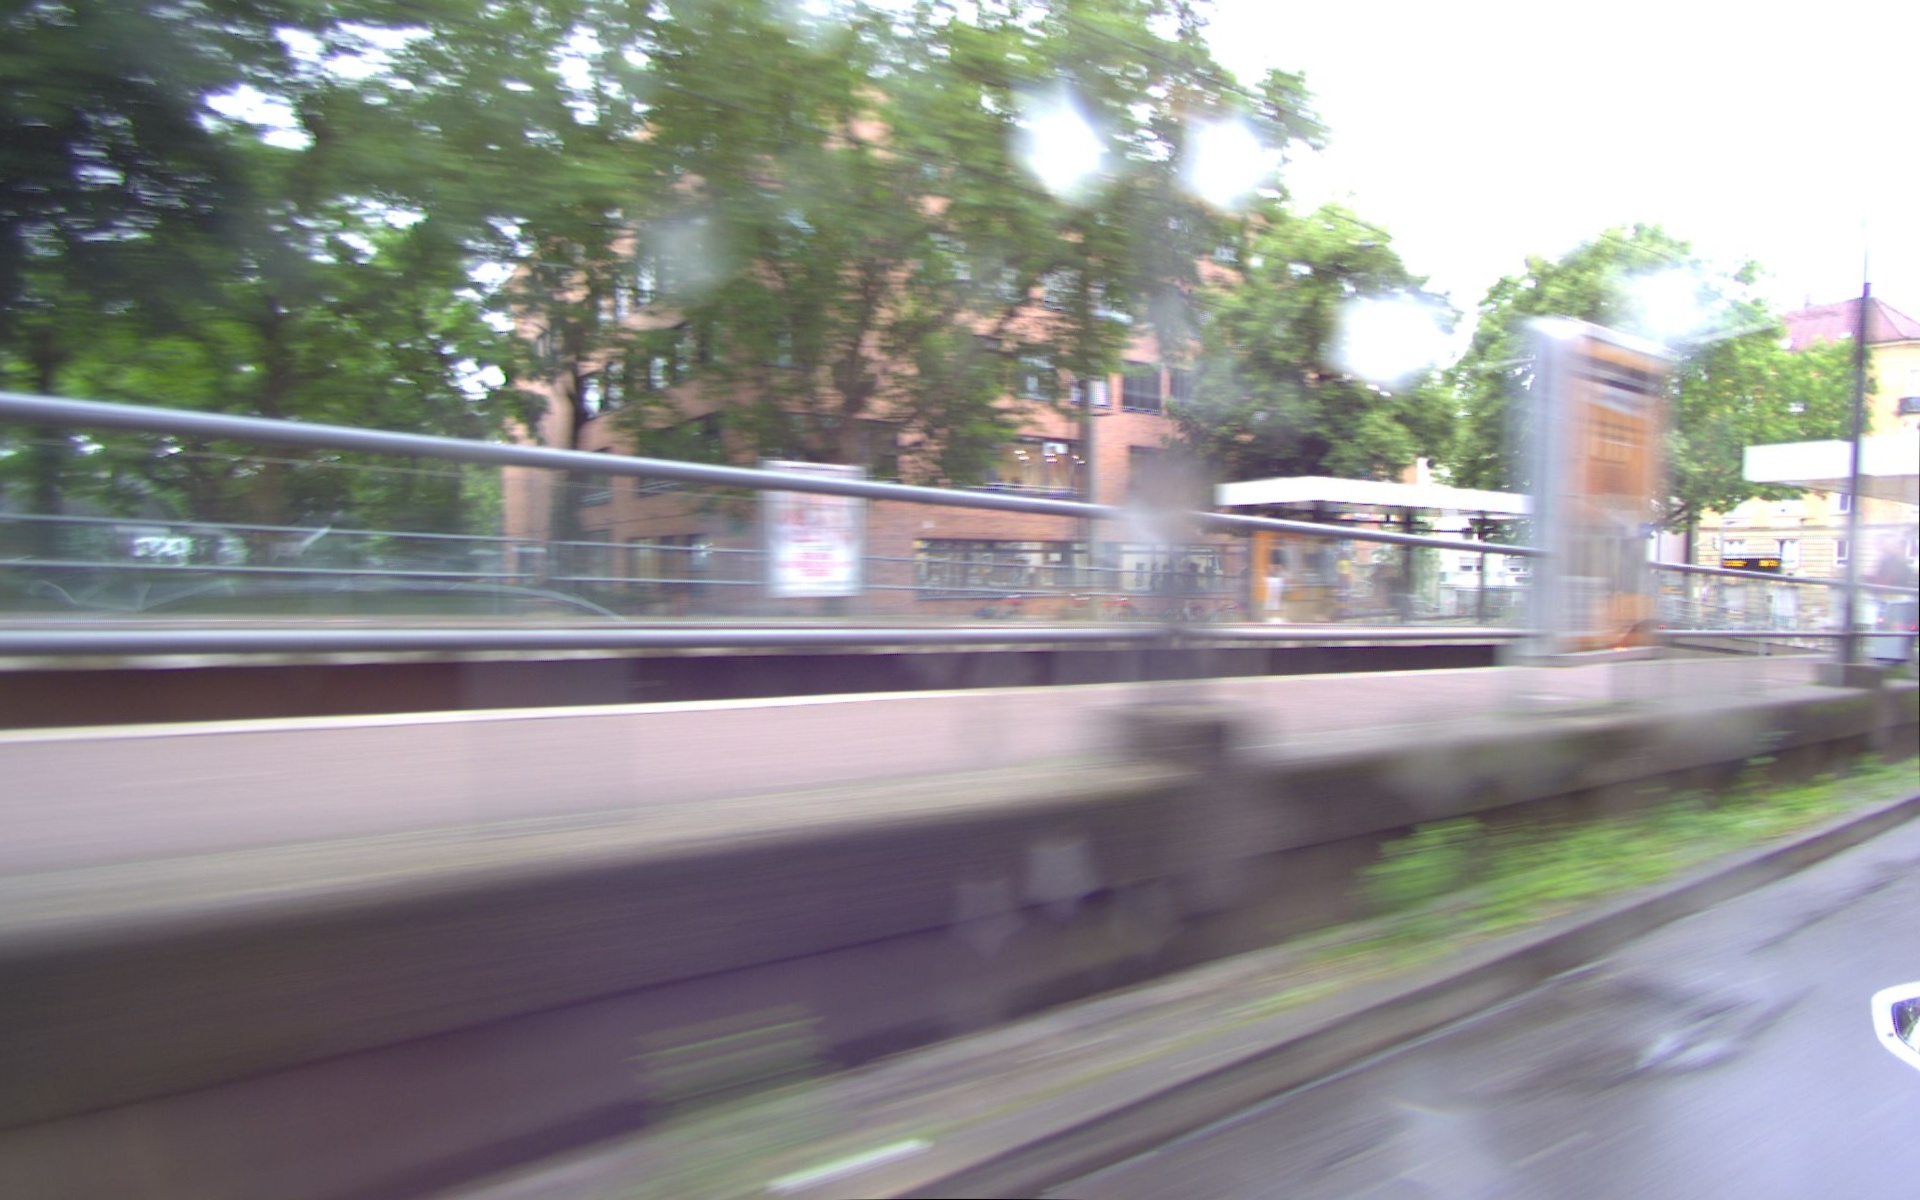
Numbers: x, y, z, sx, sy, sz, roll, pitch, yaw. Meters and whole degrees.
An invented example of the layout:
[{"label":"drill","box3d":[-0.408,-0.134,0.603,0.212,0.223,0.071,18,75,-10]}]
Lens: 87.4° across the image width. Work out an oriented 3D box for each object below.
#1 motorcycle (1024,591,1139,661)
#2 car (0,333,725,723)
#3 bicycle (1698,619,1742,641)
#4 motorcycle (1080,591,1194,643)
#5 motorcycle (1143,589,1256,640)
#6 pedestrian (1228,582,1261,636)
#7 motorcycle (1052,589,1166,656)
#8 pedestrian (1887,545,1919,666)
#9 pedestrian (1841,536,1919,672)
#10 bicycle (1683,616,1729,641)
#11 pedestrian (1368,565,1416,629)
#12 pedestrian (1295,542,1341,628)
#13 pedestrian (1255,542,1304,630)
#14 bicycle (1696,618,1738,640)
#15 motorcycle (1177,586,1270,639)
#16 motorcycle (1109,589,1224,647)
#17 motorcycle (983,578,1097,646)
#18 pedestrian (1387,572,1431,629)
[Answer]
[{"label":"motorcycle","box3d":[3.529,0.722,29.821,0.997,1.840,3.836,1,1,-36]},{"label":"car","box3d":[-3.101,-0.257,4.916,3.429,1.409,1.680,1,1,-35]},{"label":"bicycle","box3d":[41.692,1.636,55.140,1.851,1.079,0.515,2,1,44]},{"label":"motorcycle","box3d":[5.420,0.492,31.230,0.997,1.426,3.836,1,1,-36]},{"label":"motorcycle","box3d":[7.800,0.440,32.994,0.997,1.508,3.836,1,1,-36]},{"label":"pedestrian","box3d":[10.841,0.338,38.276,0.969,2.041,0.729,1,1,-31]},{"label":"motorcycle","box3d":[4.448,0.622,30.493,0.997,1.840,3.836,1,1,-36]},{"label":"pedestrian","box3d":[12.966,0.077,13.699,0.447,1.626,0.405,1,1,-41]},{"label":"pedestrian","box3d":[11.366,0.056,12.370,0.627,1.626,0.495,1,1,-19]},{"label":"bicycle","box3d":[38.940,1.492,52.424,1.851,1.211,0.515,2,1,44]},{"label":"pedestrian","box3d":[9.646,-0.074,22.438,0.559,1.381,0.771,0,2,-37]},{"label":"pedestrian","box3d":[7.377,-0.314,20.705,0.699,1.738,0.558,0,2,-37]},{"label":"pedestrian","box3d":[6.221,-0.278,19.576,0.559,1.663,0.681,0,2,-37]},{"label":"bicycle","box3d":[41.140,1.570,54.569,1.748,1.158,0.515,2,1,44]},{"label":"motorcycle","box3d":[8.770,0.388,33.570,0.997,1.649,3.036,1,1,-36]},{"label":"motorcycle","box3d":[6.412,0.528,31.516,0.997,1.627,3.836,1,1,-36]},{"label":"motorcycle","box3d":[2.245,0.302,29.092,0.997,1.797,3.836,1,1,-36]},{"label":"pedestrian","box3d":[10.179,0.009,22.765,0.559,1.257,0.698,0,2,-37]}]
